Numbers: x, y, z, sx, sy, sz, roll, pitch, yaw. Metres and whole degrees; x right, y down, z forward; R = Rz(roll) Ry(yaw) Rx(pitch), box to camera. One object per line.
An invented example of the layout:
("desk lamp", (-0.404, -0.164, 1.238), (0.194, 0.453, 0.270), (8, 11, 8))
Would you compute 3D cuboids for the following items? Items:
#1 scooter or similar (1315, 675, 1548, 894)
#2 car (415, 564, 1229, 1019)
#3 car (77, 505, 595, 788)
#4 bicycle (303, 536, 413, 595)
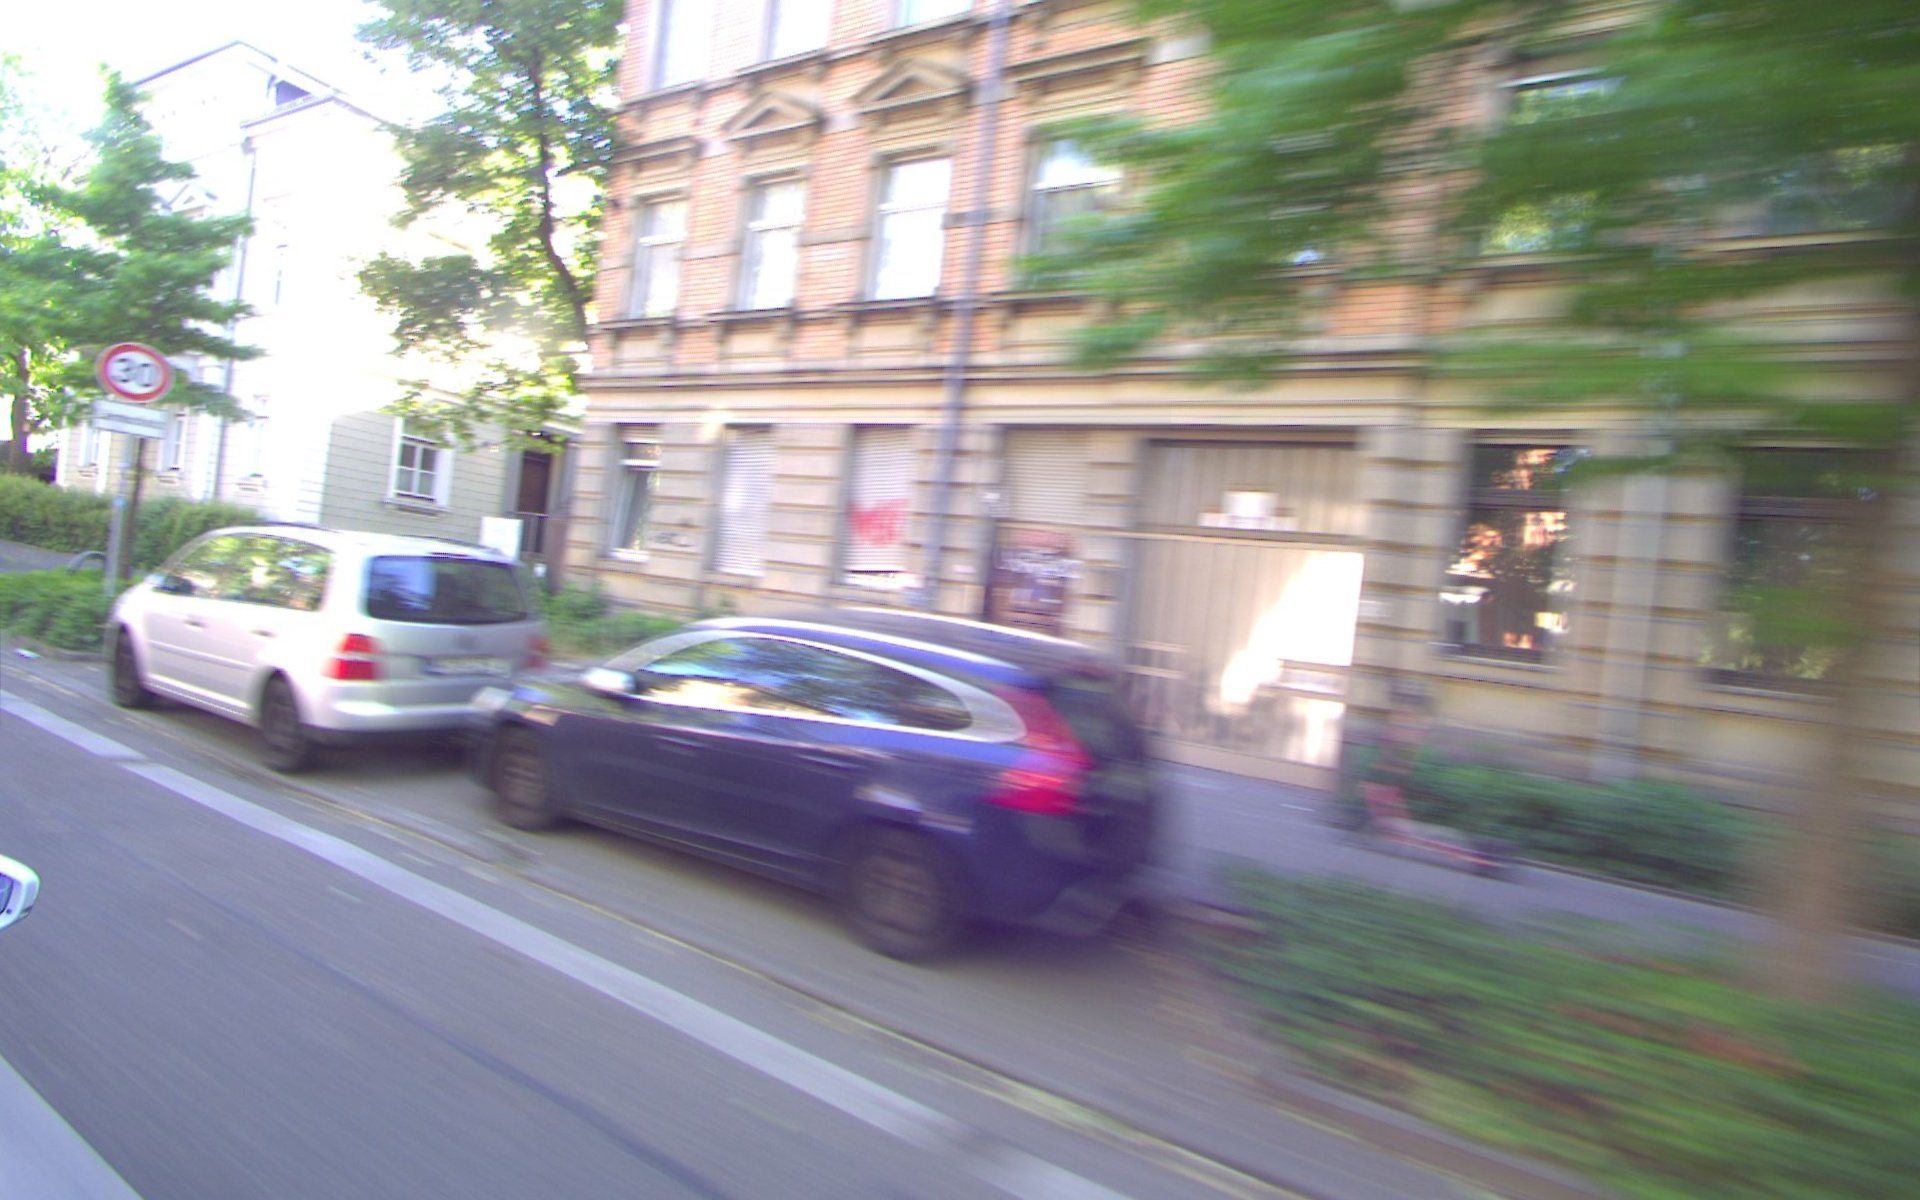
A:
("scooter or similar", (3.335, 1.252, 7.147), (1.313, 1.261, 0.576), (7, 0, 33))
("car", (-0.966, 0.757, 5.974), (4.516, 1.486, 1.885), (6, 2, 30))
("car", (-5.166, 0.220, 8.185), (4.172, 1.589, 1.884), (6, 2, 32))
("bicycle", (-12.936, -0.718, 21.680), (0.553, 1.048, 1.915), (7, 0, 31))
